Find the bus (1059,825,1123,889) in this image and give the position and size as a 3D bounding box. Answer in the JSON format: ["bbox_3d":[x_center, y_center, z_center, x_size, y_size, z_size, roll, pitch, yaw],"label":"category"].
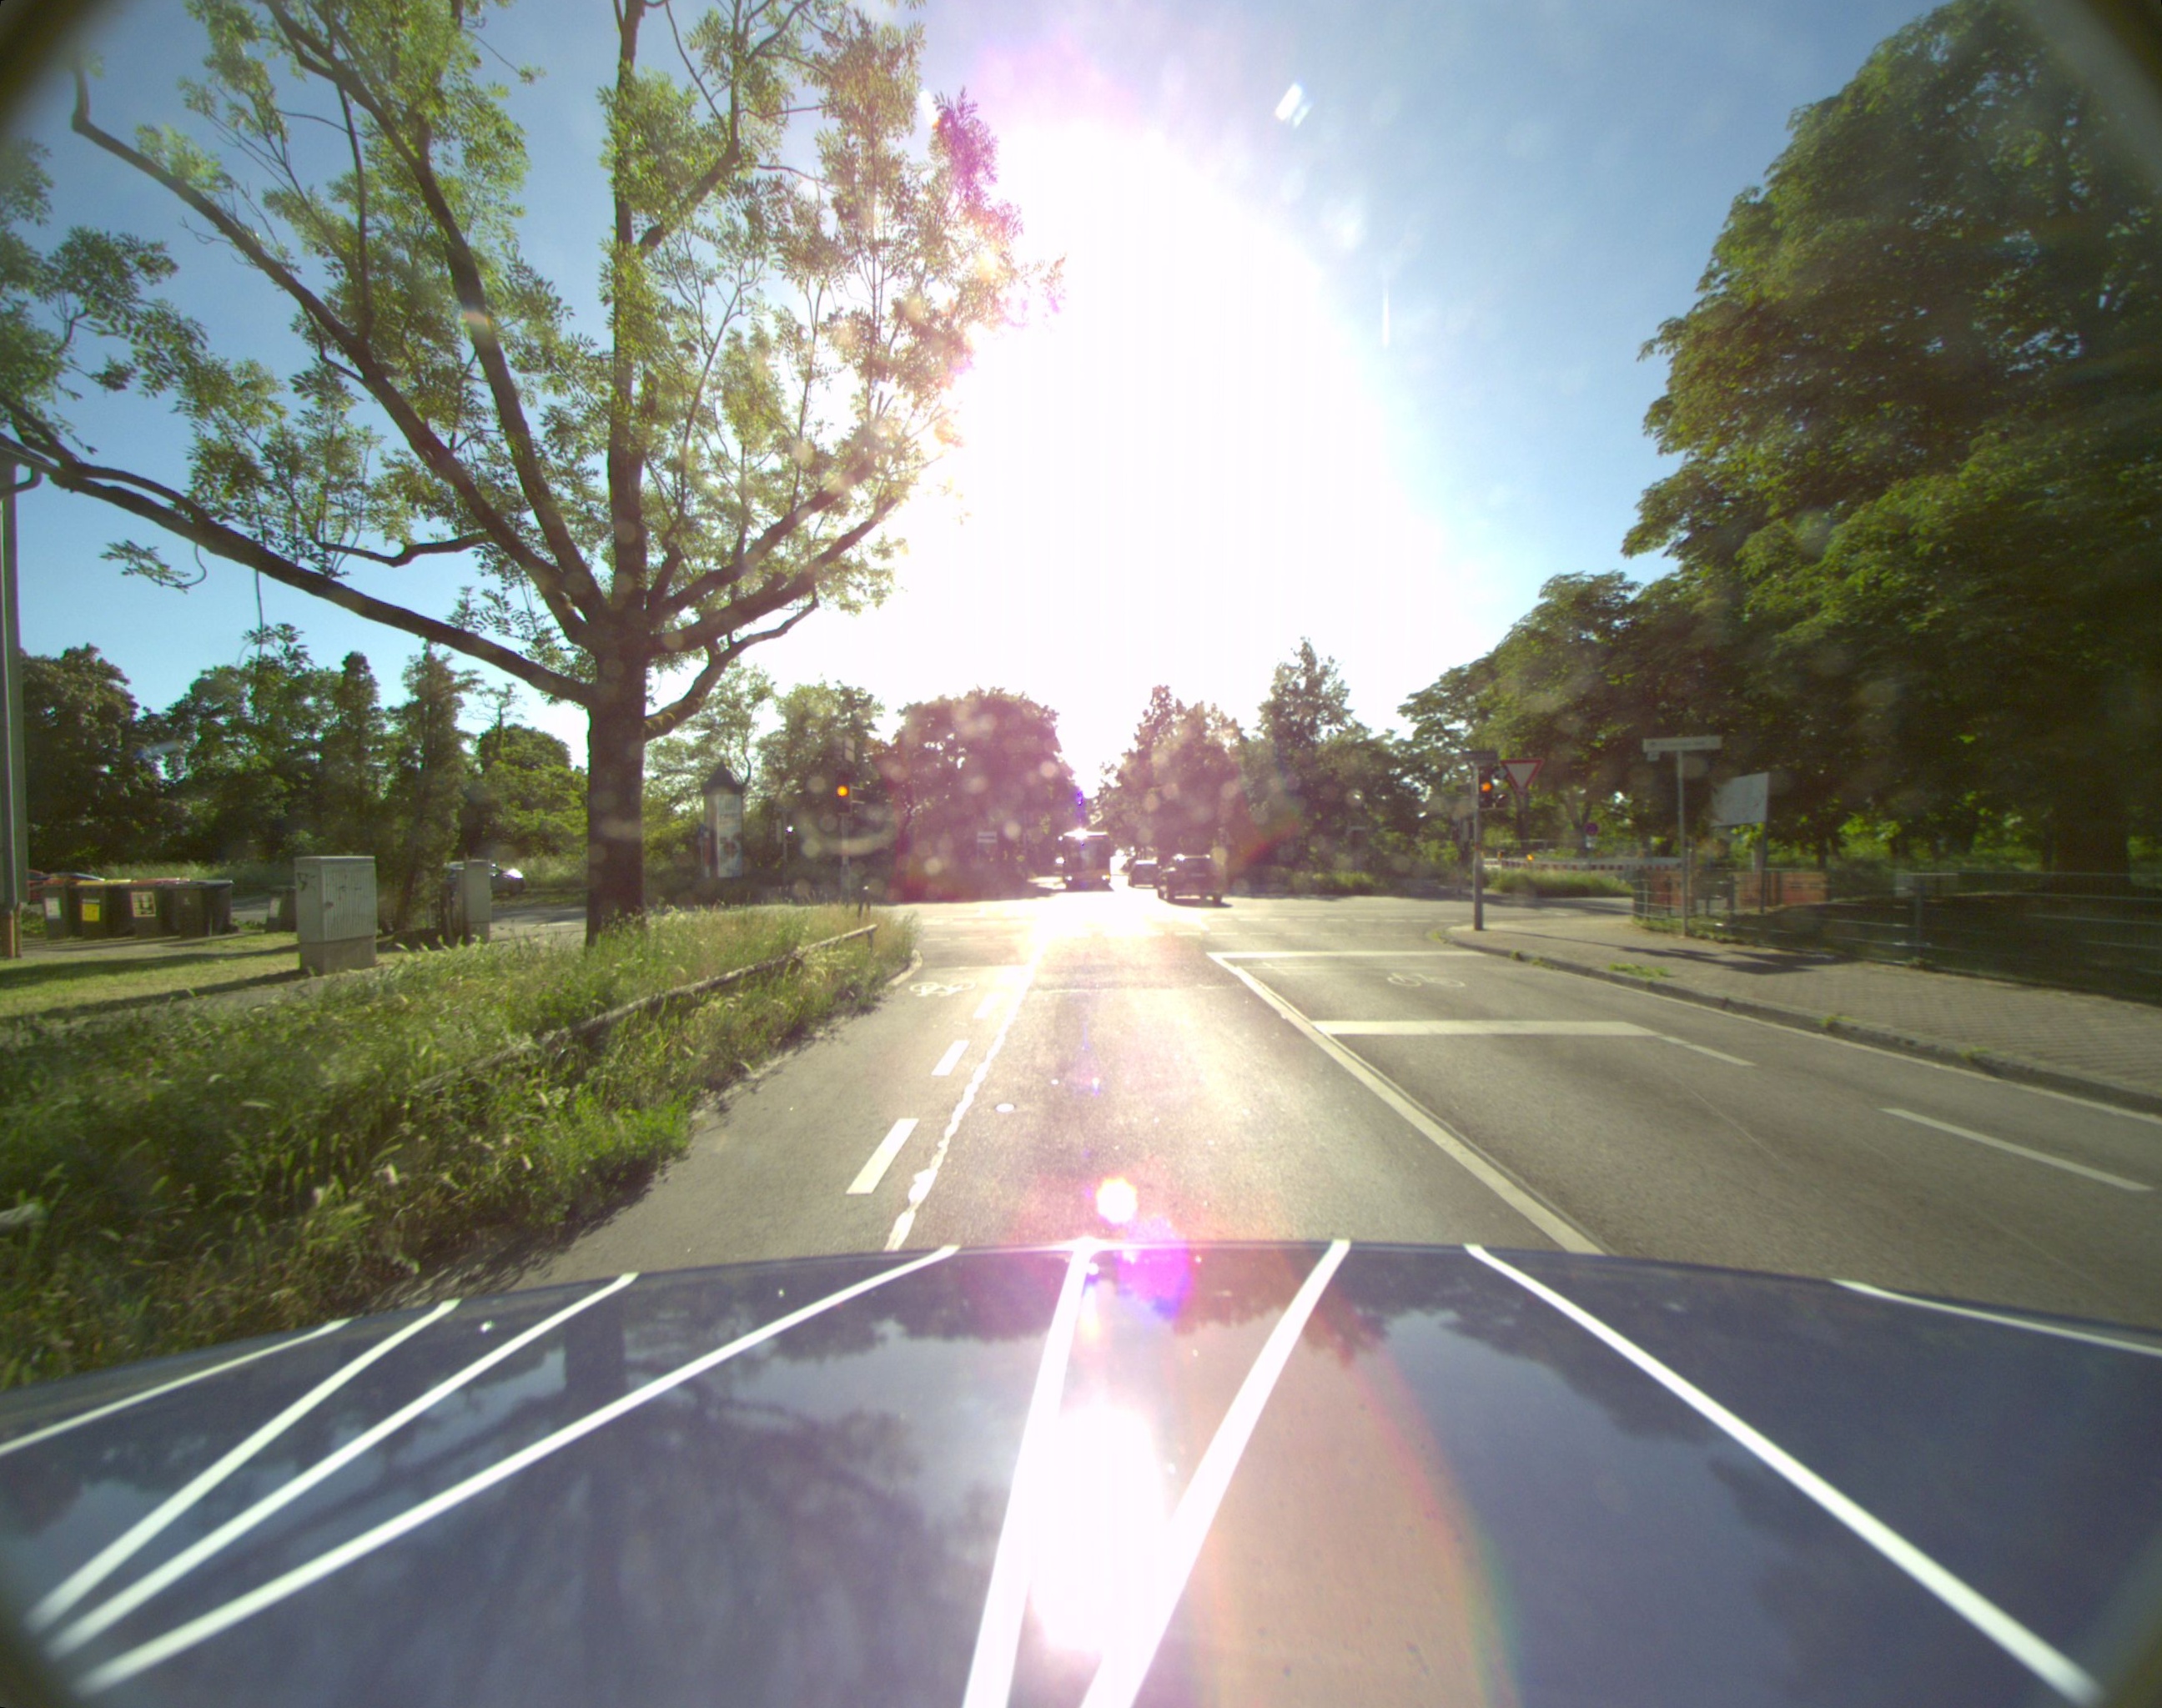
[{"bbox_3d":[0.660,0.184,44.681,3.128,3.080,12.480,-3,0,1],"label":"bus"}]

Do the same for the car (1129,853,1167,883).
[{"bbox_3d":[3.644,0.740,41.965,1.810,1.447,3.848,0,3,0],"label":"car"}]

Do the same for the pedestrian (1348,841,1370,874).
[{"bbox_3d":[14.070,0.159,38.471,0.800,1.624,0.647,-2,0,1],"label":"pedestrian"}]

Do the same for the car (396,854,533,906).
[{"bbox_3d":[-24.478,0.964,30.426,1.868,1.642,4.444,-2,3,-3],"label":"car"}]

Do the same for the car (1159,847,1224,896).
[{"bbox_3d":[3.863,0.563,27.281,1.819,1.608,4.392,0,0,2],"label":"car"}]
